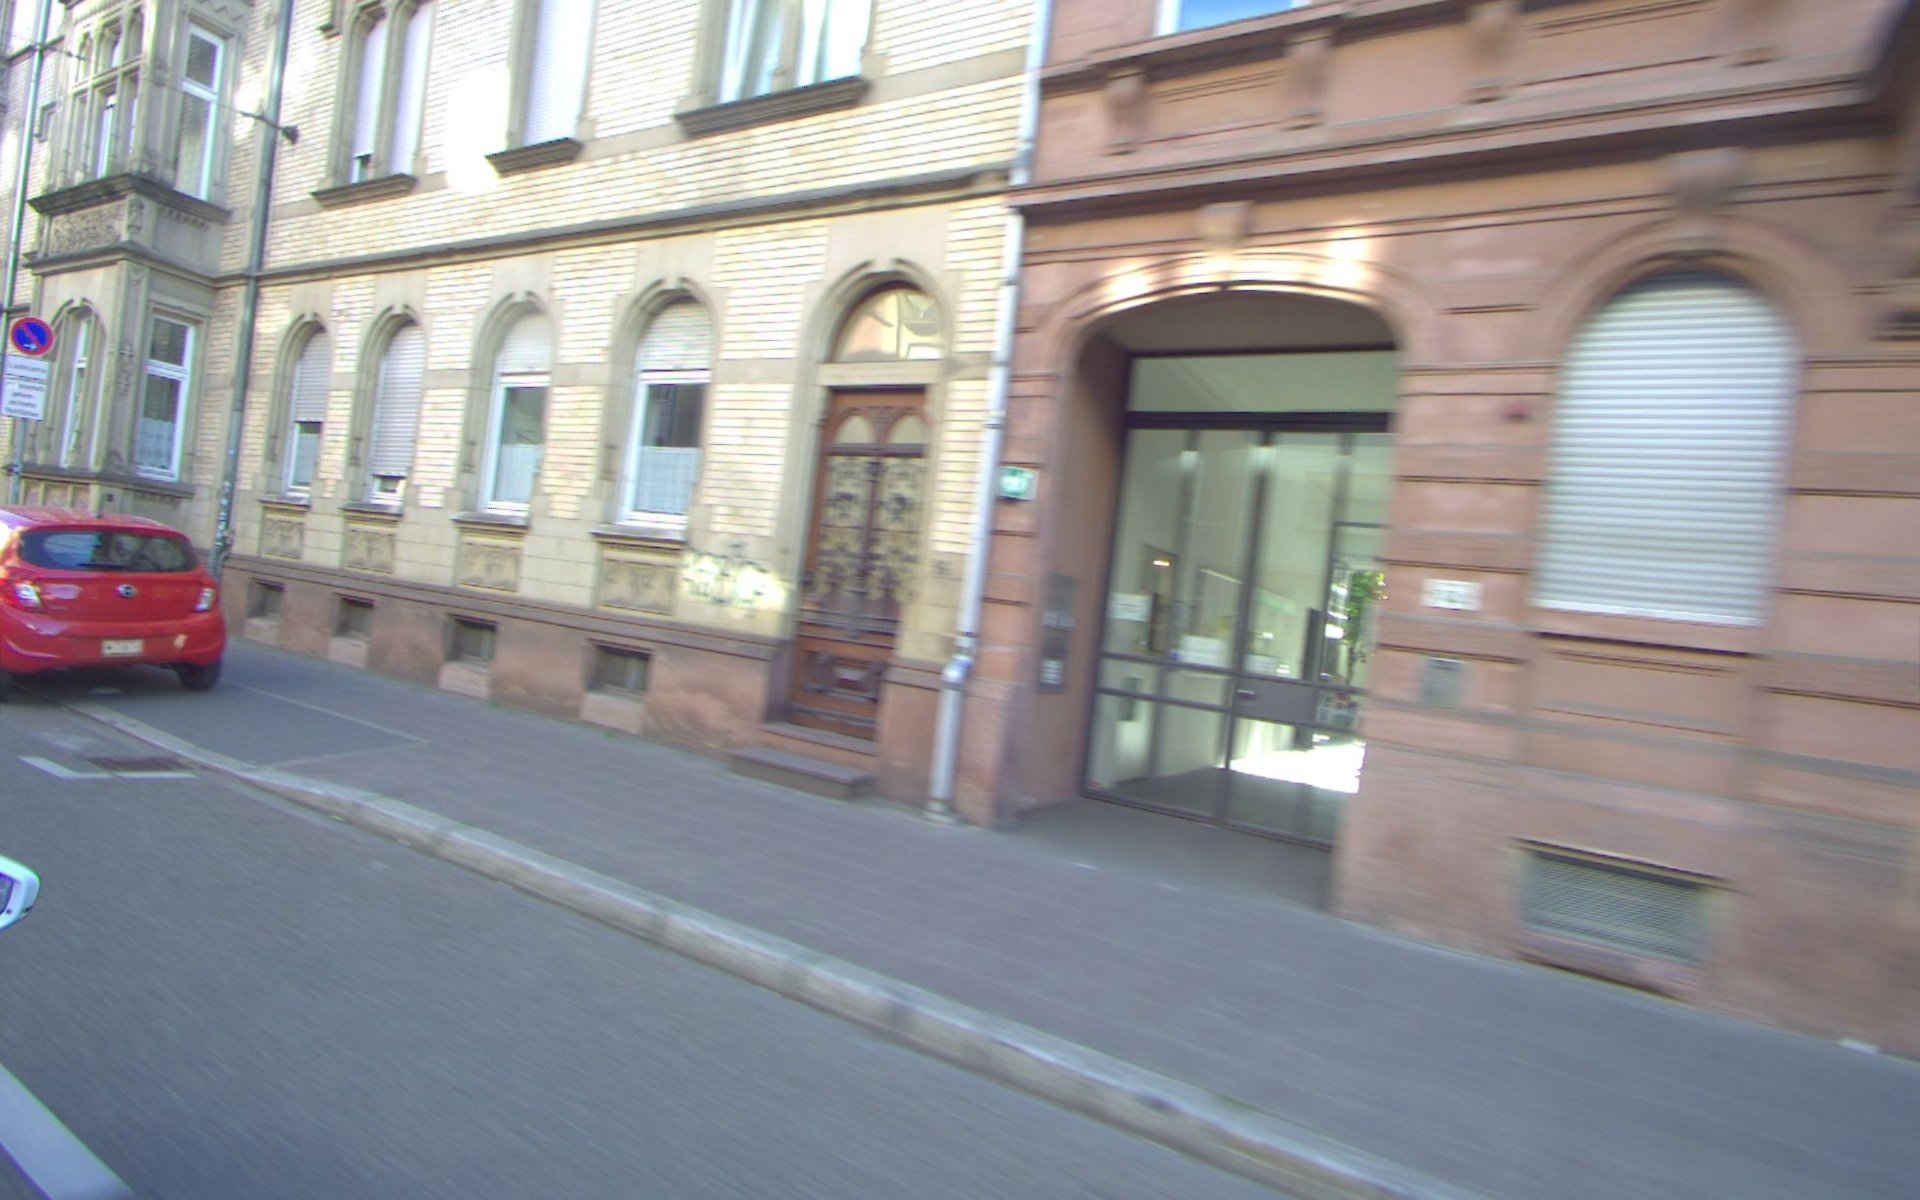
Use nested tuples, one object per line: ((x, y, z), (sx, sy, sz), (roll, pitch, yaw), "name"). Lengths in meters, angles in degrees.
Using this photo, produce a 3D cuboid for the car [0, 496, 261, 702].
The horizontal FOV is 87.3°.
((-8.517, -0.166, 9.170), (4.327, 1.502, 1.866), (6, 2, 31), "car")
